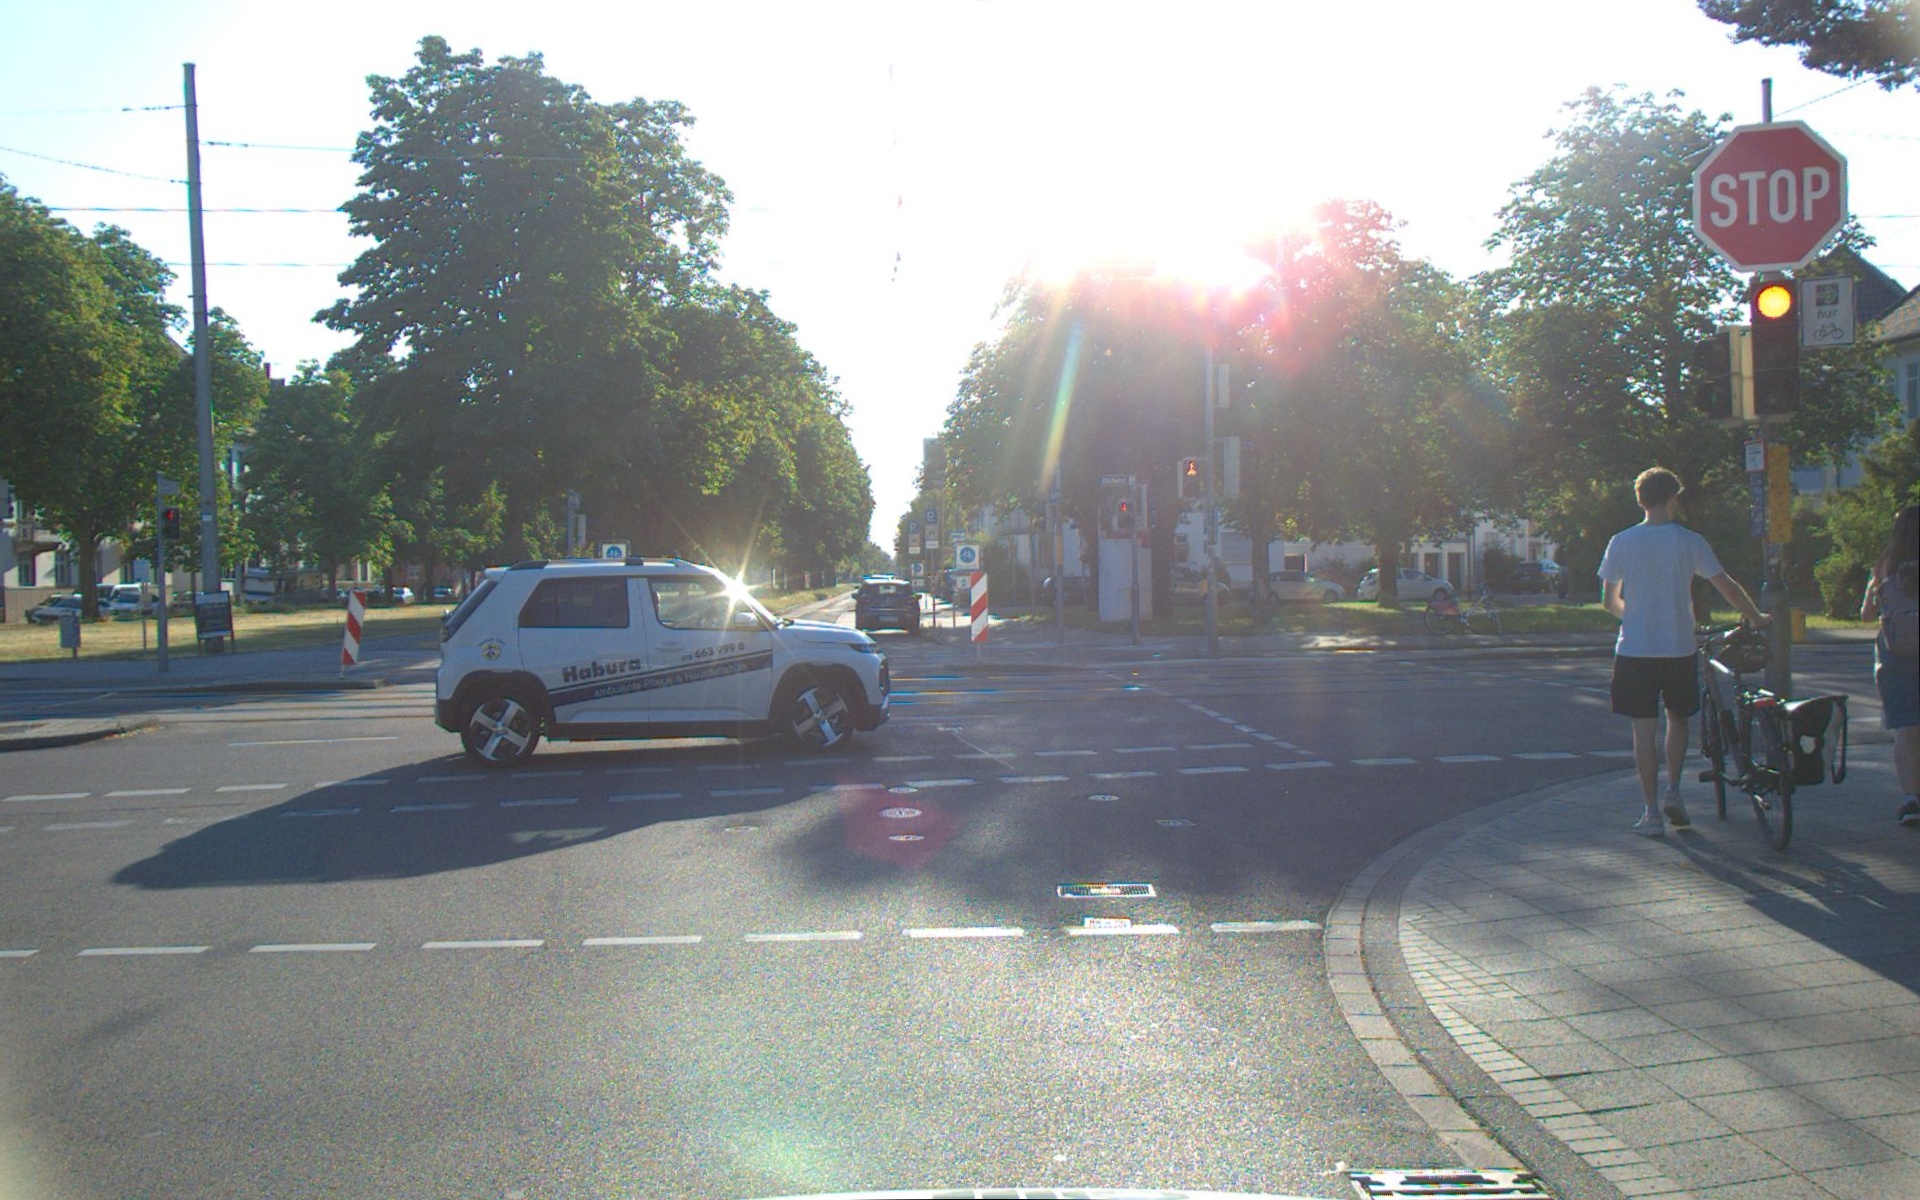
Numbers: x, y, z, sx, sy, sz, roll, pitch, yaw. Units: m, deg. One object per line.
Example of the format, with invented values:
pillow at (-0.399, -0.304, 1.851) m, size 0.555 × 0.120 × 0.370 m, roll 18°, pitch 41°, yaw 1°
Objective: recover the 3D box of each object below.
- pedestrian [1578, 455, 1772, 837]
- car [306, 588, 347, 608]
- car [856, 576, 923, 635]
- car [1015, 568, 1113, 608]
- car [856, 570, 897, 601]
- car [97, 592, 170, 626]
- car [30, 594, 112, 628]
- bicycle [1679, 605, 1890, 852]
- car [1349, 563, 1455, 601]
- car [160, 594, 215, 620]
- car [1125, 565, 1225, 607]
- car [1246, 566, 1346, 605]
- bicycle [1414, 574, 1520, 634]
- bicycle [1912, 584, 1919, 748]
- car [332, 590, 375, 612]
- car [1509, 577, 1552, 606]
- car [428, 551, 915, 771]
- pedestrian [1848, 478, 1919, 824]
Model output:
pedestrian at (3.788, 0.226, 8.825) m, size 0.656 × 1.897 × 0.883 m, roll -4°, pitch 1°, yaw 11°
car at (-48.072, -0.192, 125.517) m, size 1.703 × 1.452 × 3.791 m, roll 0°, pitch 1°, yaw -2°
car at (-1.827, 0.108, 43.833) m, size 1.607 × 1.476 × 3.307 m, roll -1°, pitch 1°, yaw 0°
car at (4.063, -0.484, 65.034) m, size 3.704 × 1.452 × 1.743 m, roll -1°, pitch 2°, yaw -3°
car at (-3.901, -0.697, 77.453) m, size 1.808 × 1.418 × 3.828 m, roll 0°, pitch 1°, yaw -2°
car at (-40.323, 0.415, 80.744) m, size 1.703 × 1.452 × 3.792 m, roll -1°, pitch 2°, yaw -2°
car at (-40.081, 0.483, 74.676) m, size 1.703 × 1.452 × 3.791 m, roll -1°, pitch 1°, yaw -2°
bicycle at (4.235, 0.608, 8.615) m, size 0.476 × 1.116 × 1.792 m, roll -3°, pitch 0°, yaw 12°
car at (17.687, -0.719, 66.285) m, size 3.772 × 1.452 × 1.595 m, roll -1°, pitch 1°, yaw -7°
car at (-47.409, 0.418, 101.589) m, size 1.703 × 1.452 × 3.791 m, roll -1°, pitch 1°, yaw -2°
car at (8.476, -0.571, 65.427) m, size 3.704 × 1.552 × 1.743 m, roll -1°, pitch 2°, yaw -3°
car at (13.280, -0.569, 65.445) m, size 3.593 × 1.452 × 1.529 m, roll -1°, pitch 1°, yaw -7°
bicycle at (10.108, 0.083, 32.986) m, size 1.914 × 1.152 × 0.620 m, roll -1°, pitch 0°, yaw 0°
bicycle at (5.385, 0.508, 8.396) m, size 0.476 × 1.162 × 1.600 m, roll -3°, pitch 1°, yaw 14°
car at (-42.310, 0.073, 115.409) m, size 1.703 × 1.452 × 3.791 m, roll 0°, pitch 1°, yaw -2°
car at (29.141, -0.440, 84.456) m, size 1.631 × 1.442 × 3.539 m, roll -1°, pitch 1°, yaw 27°
car at (-2.419, 0.433, 13.938) m, size 3.801 × 1.578 × 1.606 m, roll -2°, pitch 3°, yaw -16°
pedestrian at (5.094, 0.230, 8.577) m, size 0.655 × 1.737 × 0.623 m, roll -4°, pitch 1°, yaw 17°
